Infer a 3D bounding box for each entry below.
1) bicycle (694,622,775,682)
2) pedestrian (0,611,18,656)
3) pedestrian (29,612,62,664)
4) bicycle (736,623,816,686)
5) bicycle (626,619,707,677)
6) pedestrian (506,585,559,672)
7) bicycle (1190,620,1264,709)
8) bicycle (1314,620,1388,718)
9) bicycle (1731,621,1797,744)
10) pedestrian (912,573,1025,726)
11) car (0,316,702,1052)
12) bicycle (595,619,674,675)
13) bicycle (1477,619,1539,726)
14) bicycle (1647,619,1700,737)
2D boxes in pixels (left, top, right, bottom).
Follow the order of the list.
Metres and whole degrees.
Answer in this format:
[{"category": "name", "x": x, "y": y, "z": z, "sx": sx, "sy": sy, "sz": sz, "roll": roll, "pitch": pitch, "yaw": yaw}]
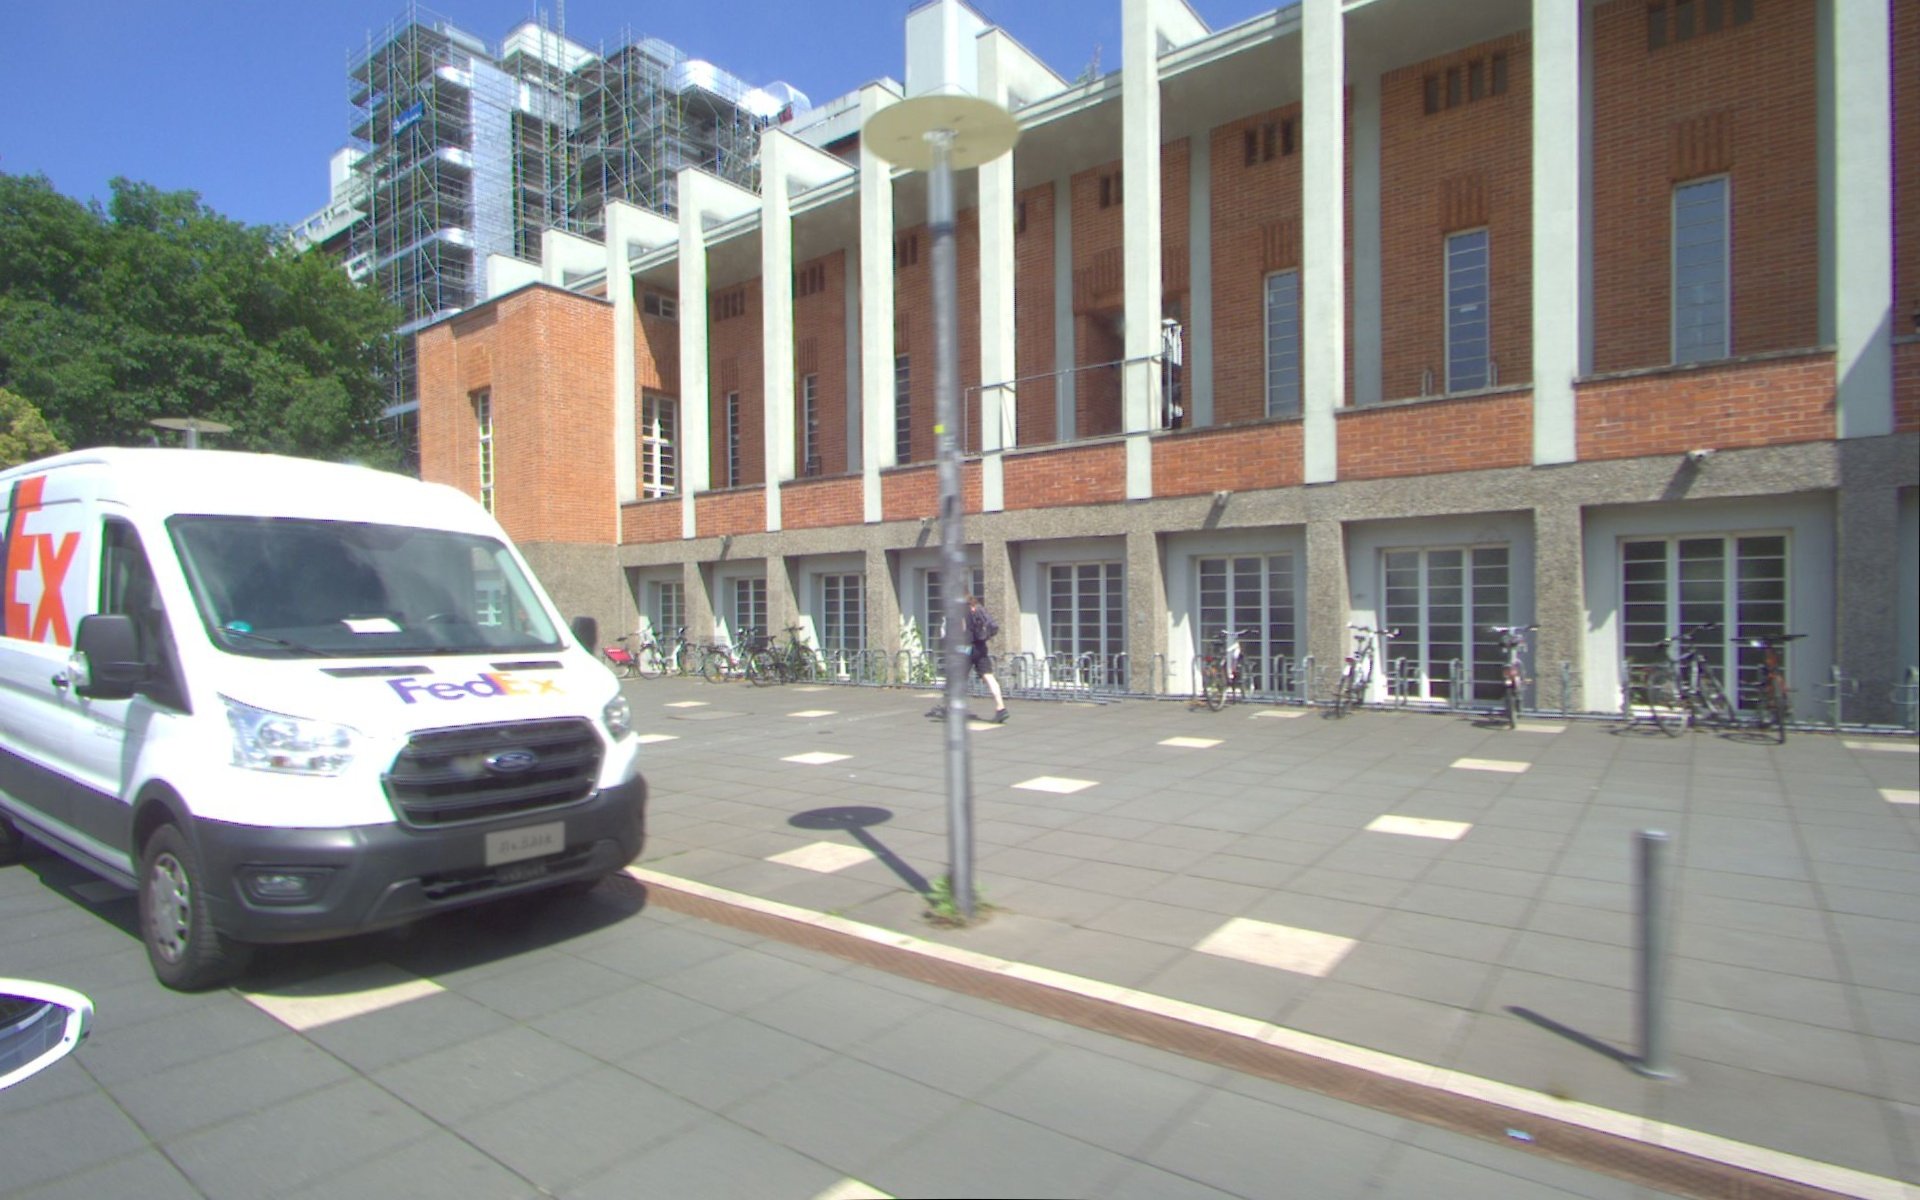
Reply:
[{"category": "bicycle", "x": -4.571, "y": 1.031, "z": 20.399, "sx": 0.430, "sy": 1.125, "sz": 1.741, "roll": 0, "pitch": 1, "yaw": 35}, {"category": "pedestrian", "x": -35.329, "y": 1.228, "z": 37.009, "sx": 0.975, "sy": 1.621, "sz": 0.664, "roll": 0, "pitch": 1, "yaw": 44}, {"category": "pedestrian", "x": -30.022, "y": 1.237, "z": 32.881, "sx": 0.893, "sy": 1.688, "sz": 0.646, "roll": 0, "pitch": 1, "yaw": 39}, {"category": "bicycle", "x": -3.528, "y": 1.024, "z": 19.322, "sx": 0.430, "sy": 1.125, "sz": 1.677, "roll": 0, "pitch": 1, "yaw": 35}, {"category": "bicycle", "x": -6.375, "y": 1.027, "z": 21.814, "sx": 0.511, "sy": 1.165, "sz": 1.747, "roll": 0, "pitch": 1, "yaw": 36}, {"category": "pedestrian", "x": -9.329, "y": 0.614, "z": 21.865, "sx": 0.893, "sy": 1.858, "sz": 0.661, "roll": 0, "pitch": 1, "yaw": 33}, {"category": "bicycle", "x": 3.706, "y": 0.857, "z": 13.817, "sx": 0.430, "sy": 1.125, "sz": 1.677, "roll": 0, "pitch": 1, "yaw": 35}, {"category": "bicycle", "x": 5.044, "y": 0.847, "z": 12.845, "sx": 0.430, "sy": 1.125, "sz": 1.905, "roll": 0, "pitch": 1, "yaw": 35}, {"category": "bicycle", "x": 8.203, "y": 0.795, "z": 10.252, "sx": 0.430, "sy": 1.125, "sz": 1.689, "roll": 0, "pitch": 1, "yaw": 35}, {"category": "pedestrian", "x": 0.107, "y": 0.609, "z": 12.871, "sx": 1.180, "sy": 1.858, "sz": 0.842, "roll": 0, "pitch": 1, "yaw": 32}, {"category": "car", "x": -4.275, "y": 0.321, "z": 6.038, "sx": 5.772, "sy": 2.577, "sz": 2.052, "roll": -1, "pitch": 1, "yaw": 36}, {"category": "bicycle", "x": -7.253, "y": 1.036, "z": 22.364, "sx": 0.430, "sy": 1.165, "sz": 1.747, "roll": 0, "pitch": 1, "yaw": 35}, {"category": "bicycle", "x": 6.440, "y": 0.799, "z": 11.724, "sx": 0.430, "sy": 1.125, "sz": 1.791, "roll": 0, "pitch": 1, "yaw": 35}, {"category": "bicycle", "x": 7.614, "y": 0.788, "z": 10.693, "sx": 0.430, "sy": 1.125, "sz": 1.645, "roll": 0, "pitch": 1, "yaw": 36}]
